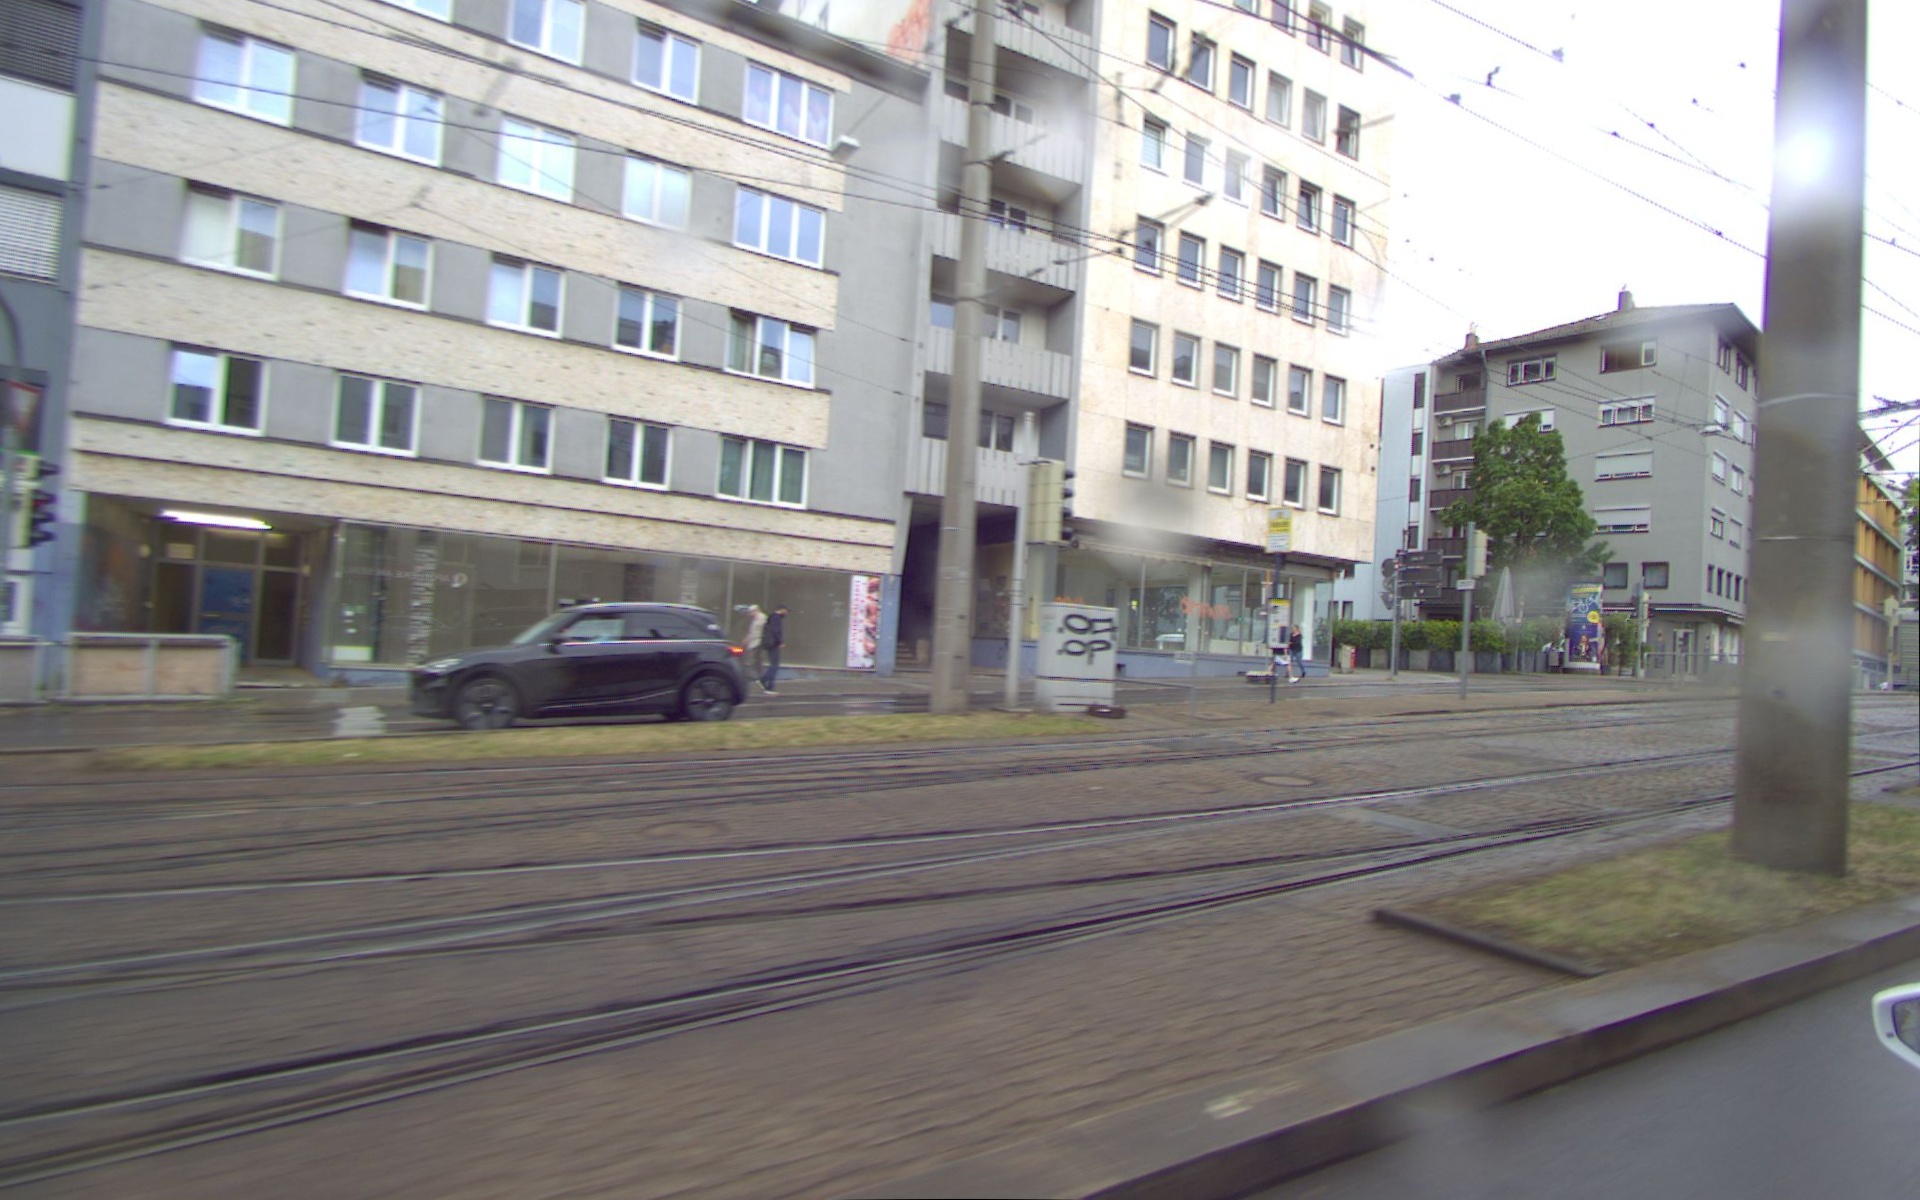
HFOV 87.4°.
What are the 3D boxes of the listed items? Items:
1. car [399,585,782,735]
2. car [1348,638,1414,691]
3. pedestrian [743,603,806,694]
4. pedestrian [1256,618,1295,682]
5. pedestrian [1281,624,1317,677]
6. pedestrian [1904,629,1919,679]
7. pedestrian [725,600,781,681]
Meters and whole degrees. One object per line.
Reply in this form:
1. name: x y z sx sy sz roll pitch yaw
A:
1. car: -4.836 0.753 13.301 4.473 1.695 1.984 2 -1 -30
2. car: 16.976 2.518 40.368 1.963 1.853 5.227 2 -1 28
3. pedestrian: -3.601 0.929 19.503 0.985 1.703 0.885 2 -1 -25
4. pedestrian: 8.878 1.392 28.234 0.899 1.761 0.593 2 -1 -32
5. pedestrian: 10.307 1.521 30.546 0.767 1.569 0.674 2 -1 -31
6. pedestrian: 35.253 1.984 36.858 0.689 1.814 0.728 2 -1 -31
7. pedestrian: -4.497 0.874 21.799 0.987 1.703 0.675 2 -1 -32
